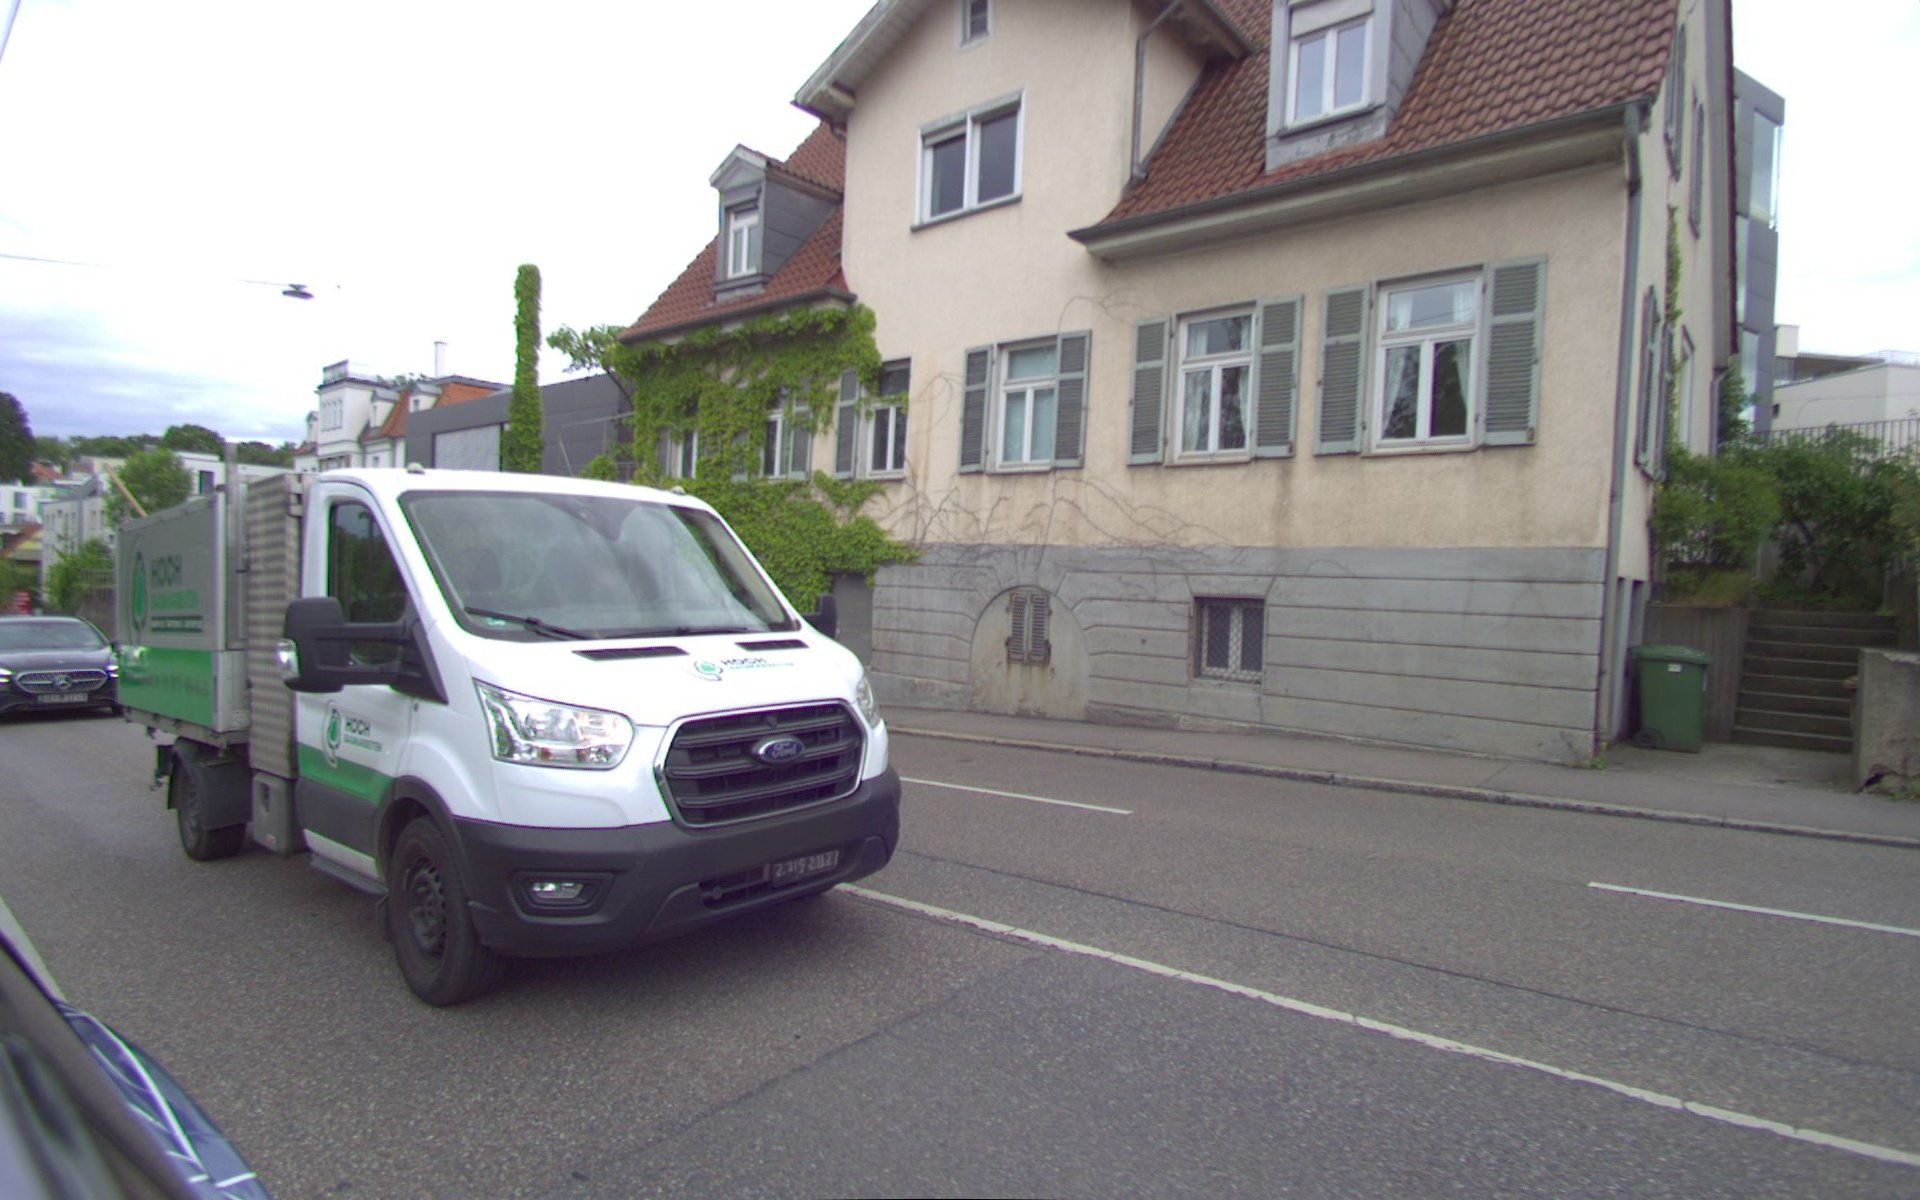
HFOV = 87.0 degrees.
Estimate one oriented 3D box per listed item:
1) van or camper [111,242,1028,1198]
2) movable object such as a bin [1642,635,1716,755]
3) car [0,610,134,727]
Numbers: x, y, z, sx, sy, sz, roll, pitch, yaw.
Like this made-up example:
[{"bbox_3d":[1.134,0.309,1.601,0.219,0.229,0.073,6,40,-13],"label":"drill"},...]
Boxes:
[{"bbox_3d":[-2.685,0.272,5.686,5.963,2.682,2.319,1,2,41],"label":"van or camper"},{"bbox_3d":[7.595,0.981,10.703,0.603,1.198,0.572,-1,0,35],"label":"movable object such as a bin"},{"bbox_3d":[-14.095,0.952,15.271,4.333,1.541,1.854,-1,-1,41],"label":"car"}]
